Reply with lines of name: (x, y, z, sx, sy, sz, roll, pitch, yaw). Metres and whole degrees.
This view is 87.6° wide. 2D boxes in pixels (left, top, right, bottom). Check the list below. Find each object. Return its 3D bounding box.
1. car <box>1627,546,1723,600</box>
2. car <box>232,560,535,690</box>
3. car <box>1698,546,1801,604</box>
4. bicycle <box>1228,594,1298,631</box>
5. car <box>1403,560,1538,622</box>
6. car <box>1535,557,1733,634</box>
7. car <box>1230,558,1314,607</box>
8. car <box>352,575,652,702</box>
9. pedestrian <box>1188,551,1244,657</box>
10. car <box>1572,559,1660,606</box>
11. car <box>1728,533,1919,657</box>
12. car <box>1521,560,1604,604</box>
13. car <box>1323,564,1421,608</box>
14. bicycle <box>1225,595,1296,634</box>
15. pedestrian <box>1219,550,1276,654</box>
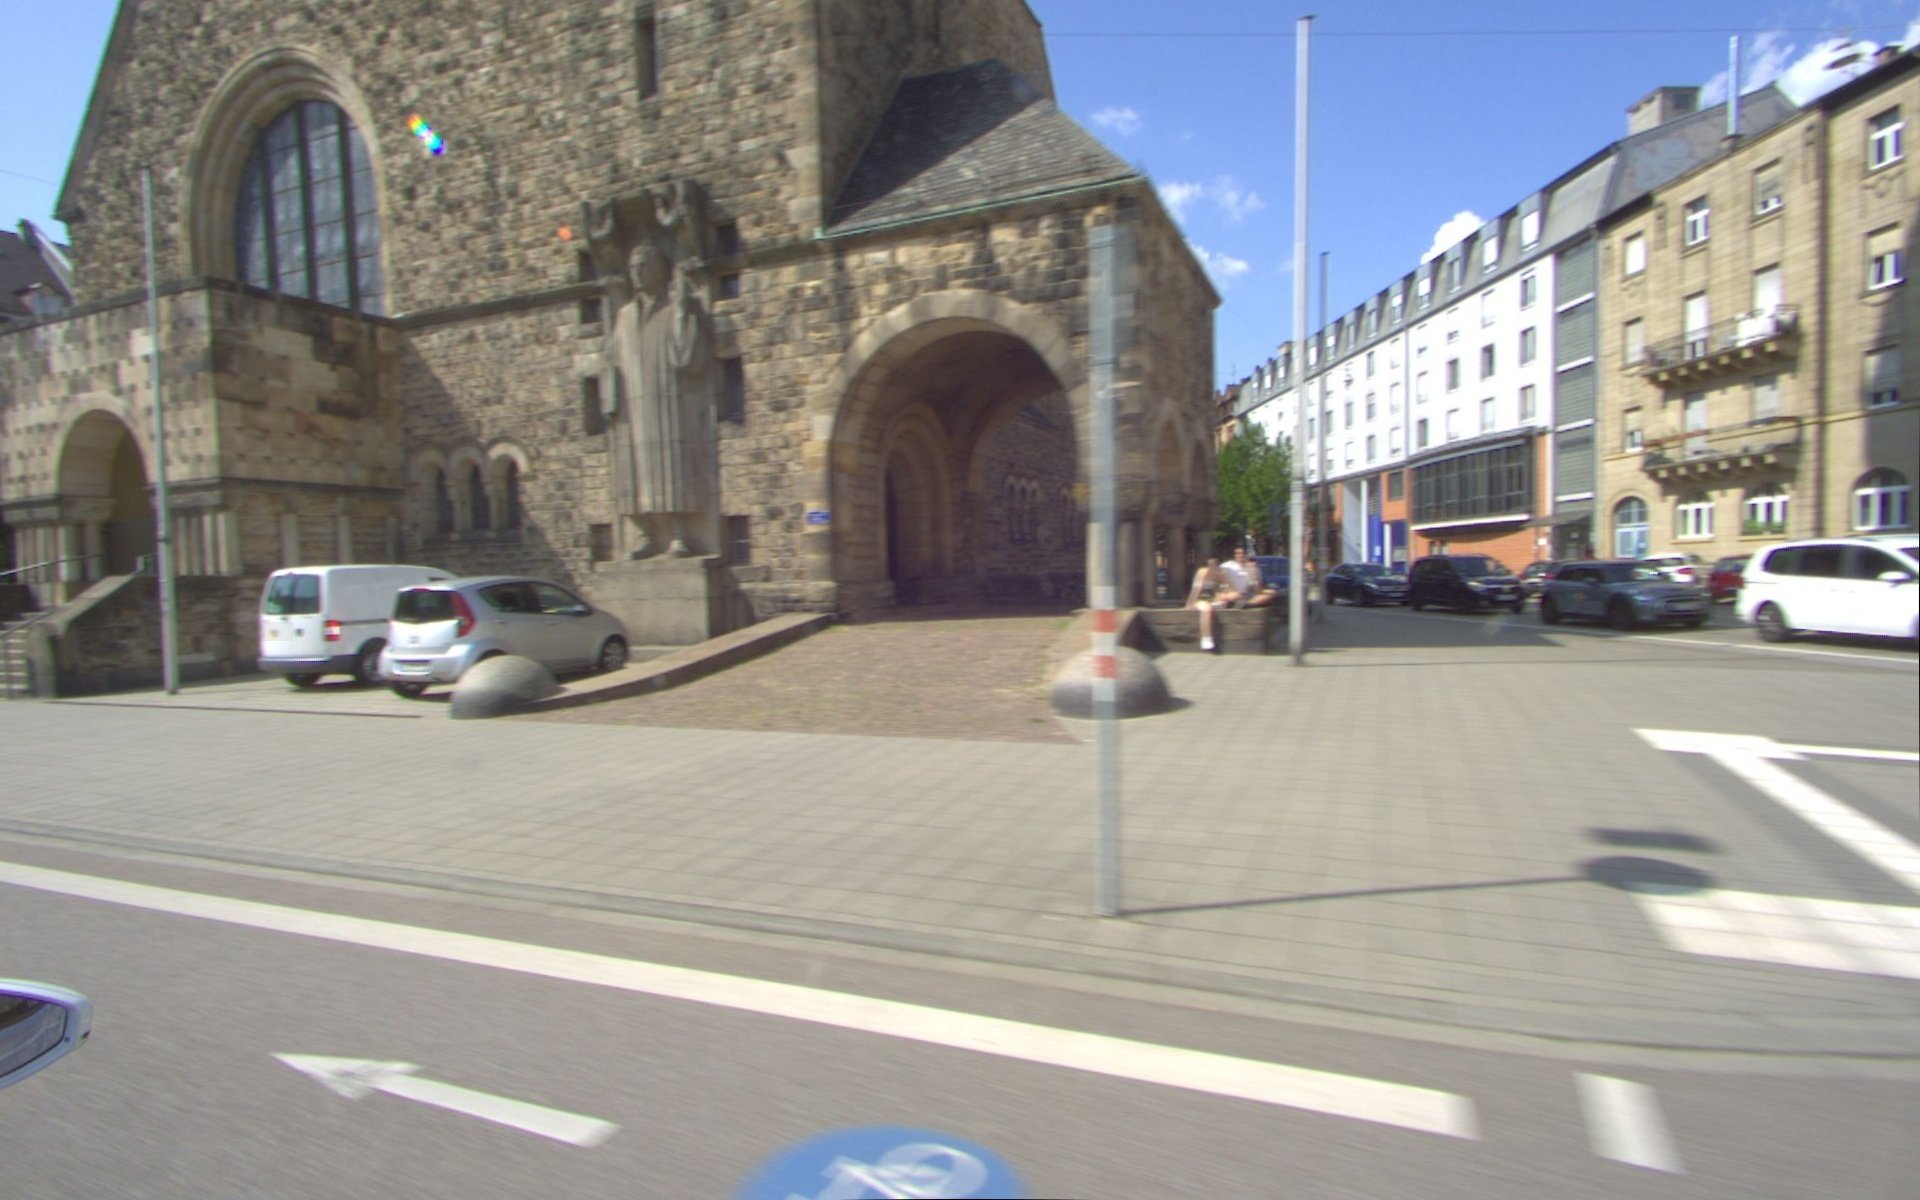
car: (23.608, -0.890, 33.032, 3.729, 1.521, 1.594, -5, 3, -38)
car: (-9.241, 0.308, 16.459, 1.831, 1.849, 4.004, 0, 2, 21)
car: (23.800, -0.767, 30.161, 3.729, 1.476, 1.594, -5, 3, -38)
bicycle: (6.209, 0.256, 20.526, 1.343, 0.751, 0.338, 0, 2, 22)
car: (14.515, -0.295, 28.741, 1.670, 1.618, 4.069, -1, 2, -2)
car: (14.331, -0.132, 21.562, 1.642, 1.470, 3.734, -1, 2, -2)
car: (11.650, -0.699, 37.662, 1.780, 1.688, 4.069, -2, 3, -1)
car: (-6.468, 0.446, 14.612, 1.767, 1.568, 3.767, 0, 2, 22)
pedestrian: (3.642, 0.046, 14.278, 0.549, 1.428, 0.515, -4, 9, -23)
car: (23.665, -0.641, 36.111, 3.529, 1.416, 1.594, -5, 3, -38)
car: (14.576, -0.119, 15.416, 1.779, 1.764, 4.661, -1, 2, -2)
car: (23.322, -0.707, 38.732, 3.529, 1.416, 1.594, -5, 3, -38)
car: (14.171, -0.499, 34.663, 1.670, 1.409, 3.859, -1, 2, -2)
bicycle: (6.041, 0.294, 20.125, 1.343, 0.751, 0.338, 0, 2, 22)
pedestrian: (4.155, 0.013, 14.499, 0.549, 1.428, 0.515, -4, 9, -23)
